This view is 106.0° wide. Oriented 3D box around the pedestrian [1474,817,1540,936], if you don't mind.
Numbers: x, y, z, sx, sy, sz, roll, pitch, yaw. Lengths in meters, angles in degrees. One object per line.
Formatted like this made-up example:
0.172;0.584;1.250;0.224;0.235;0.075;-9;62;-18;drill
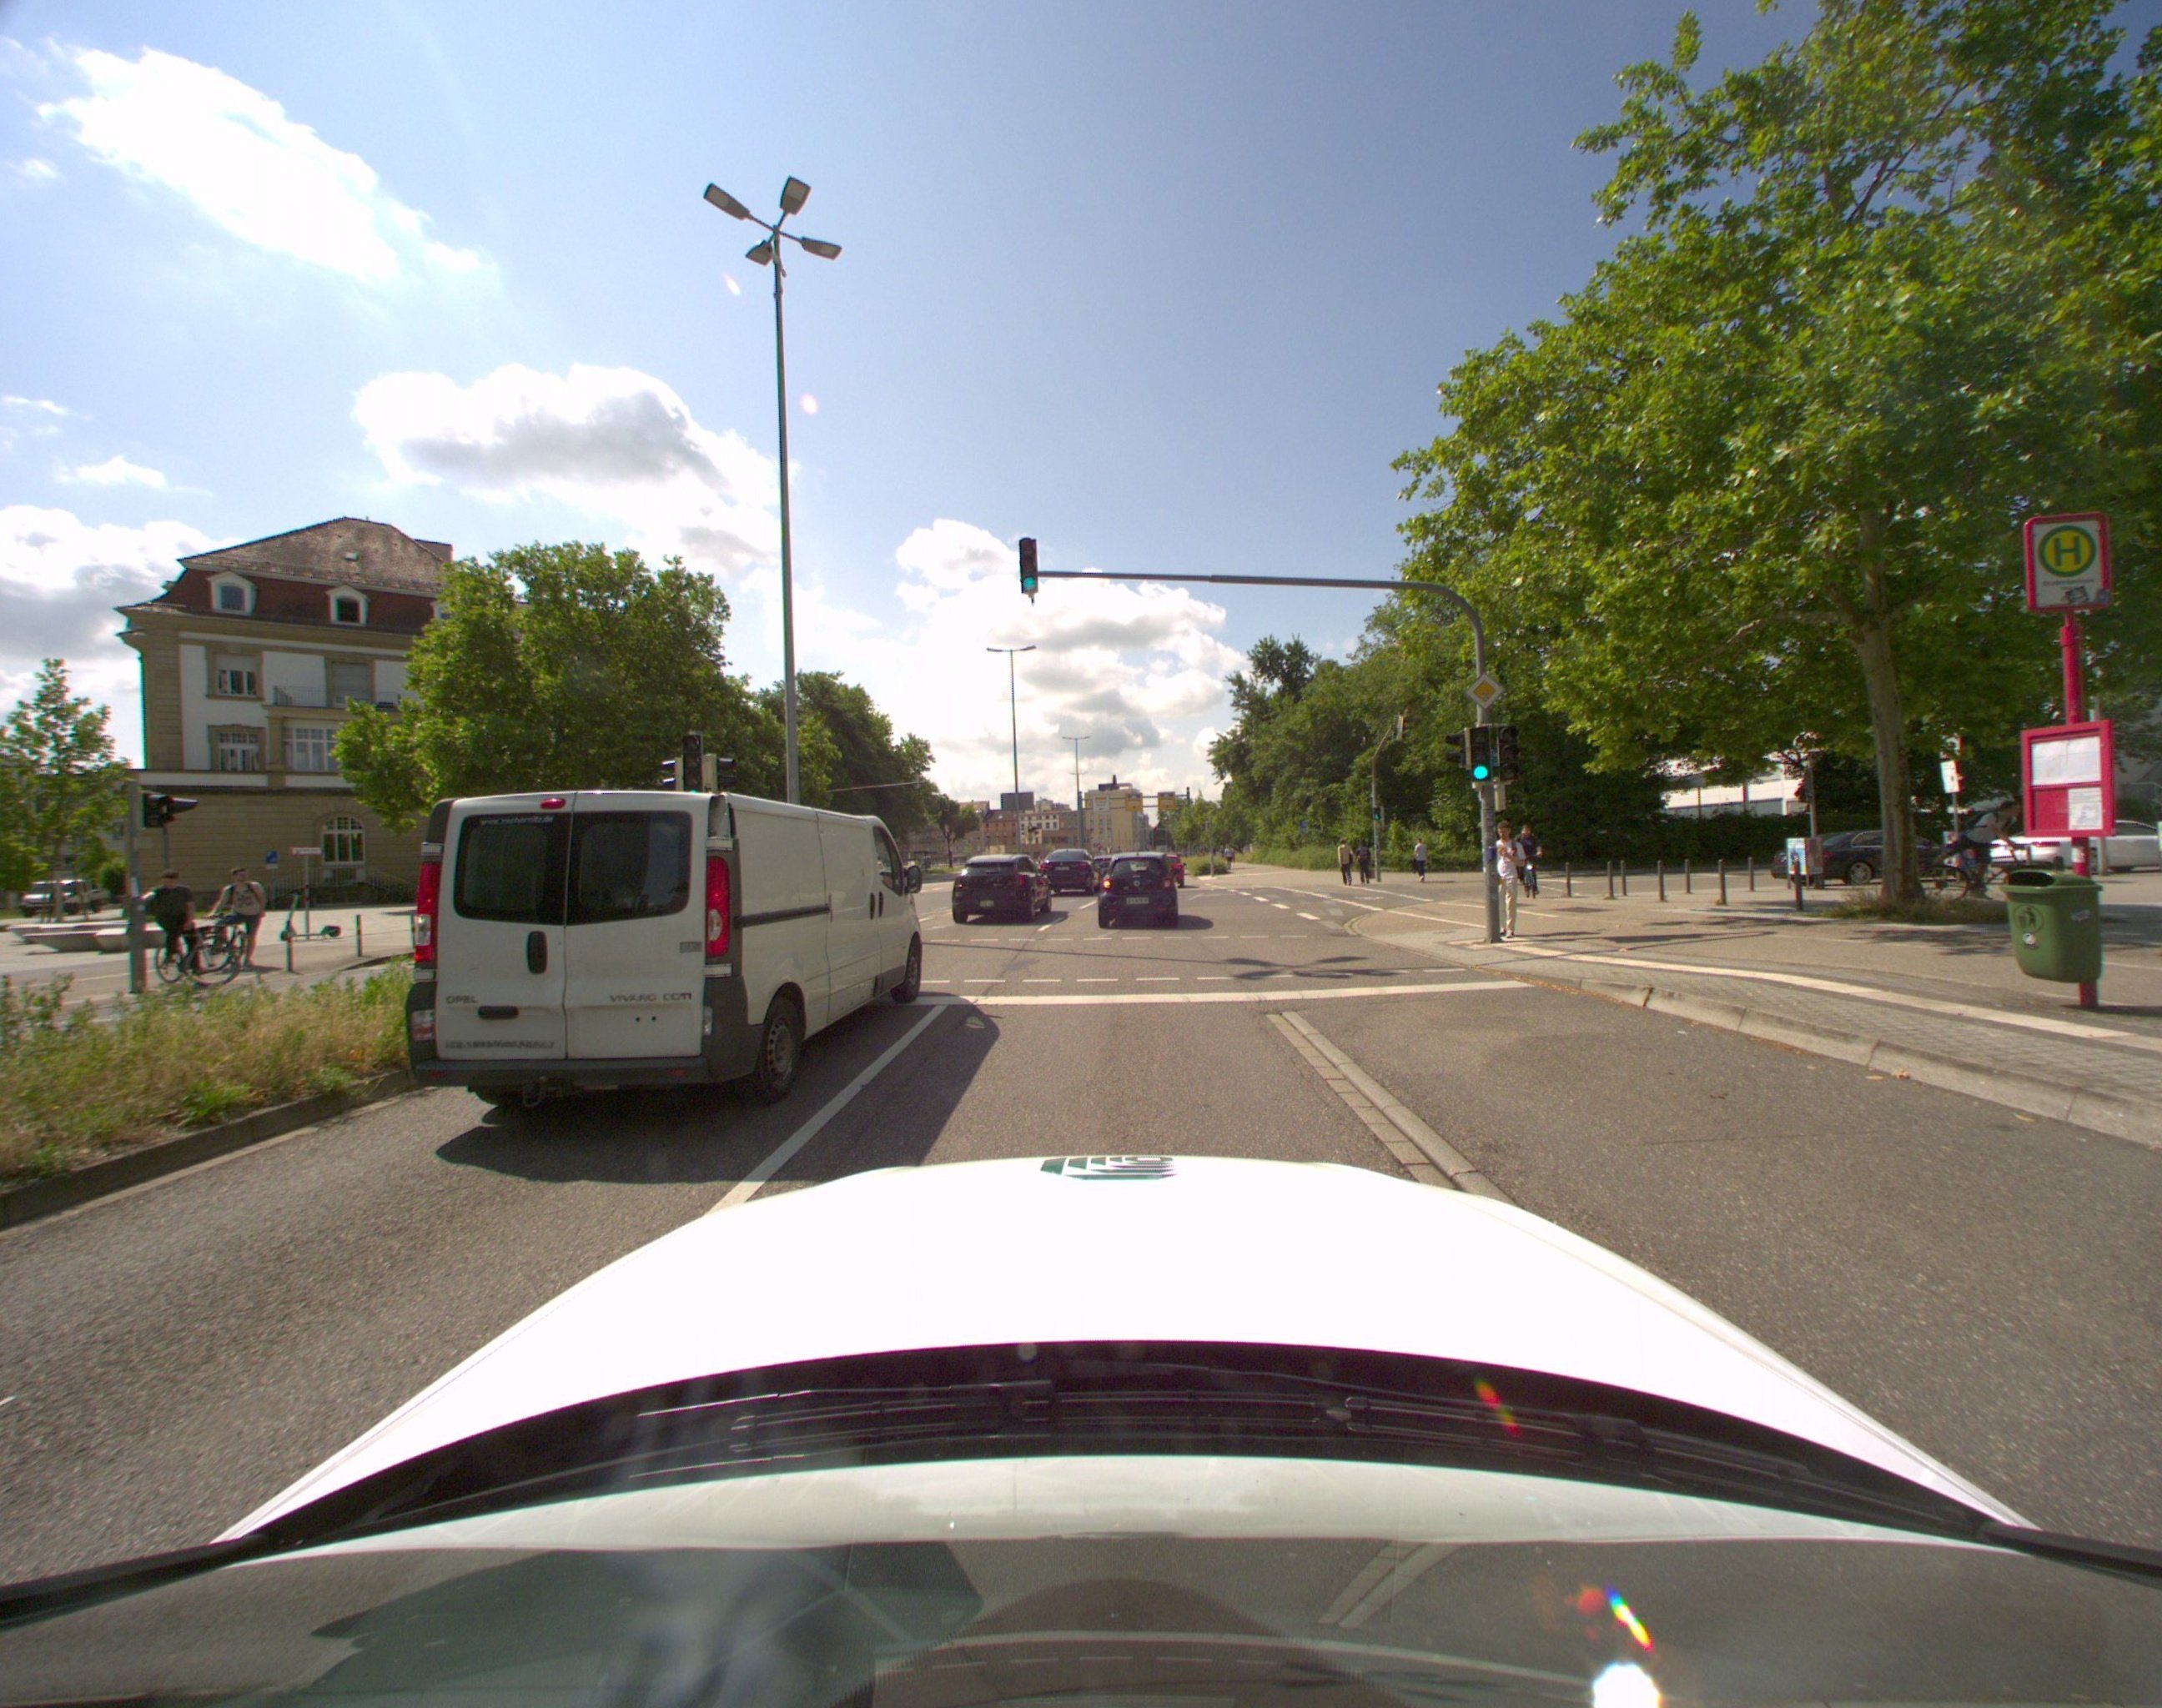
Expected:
6.717;0.348;12.844;0.598;1.800;0.604;-4;0;-36;pedestrian

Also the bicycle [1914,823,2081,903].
15.969;0.153;14.248;0.665;1.296;1.855;0;-1;-33;bicycle

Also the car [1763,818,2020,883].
21.060;-0.059;21.311;4.915;1.400;1.724;-3;-2;0;car

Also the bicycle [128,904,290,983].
-14.440;1.463;13.547;1.671;1.124;0.691;-2;0;-19;bicycle

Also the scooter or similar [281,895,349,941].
-19.376;1.612;20.626;1.153;1.066;0.399;-2;0;-27;scooter or similar

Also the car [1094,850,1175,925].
1.192;0.669;18.009;1.604;1.485;3.521;-1;0;4;car

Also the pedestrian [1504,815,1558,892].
11.392;-0.011;20.608;0.845;1.820;1.183;-7;-3;39;pedestrian

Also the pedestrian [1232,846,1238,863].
16.627;0.042;87.959;0.500;1.890;0.560;-1;-1;1;pedestrian

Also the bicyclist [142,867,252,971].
-14.609;1.046;13.484;0.999;1.615;0.653;-2;0;-19;bicyclist

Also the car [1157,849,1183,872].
5.880;0.404;54.095;1.604;1.411;3.521;-1;0;4;car

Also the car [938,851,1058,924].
-1.881;0.715;20.159;2.007;1.530;4.895;-1;0;5;car

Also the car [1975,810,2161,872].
26.474;-0.335;21.184;4.409;1.400;1.724;-3;-3;0;car

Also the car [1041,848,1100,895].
-0.324;0.610;30.696;1.819;1.601;4.398;-1;0;4;car

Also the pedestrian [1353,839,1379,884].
11.146;0.264;31.910;0.790;1.704;1.186;-2;1;12;pedestrian

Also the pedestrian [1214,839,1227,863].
11.252;-0.228;65.755;0.835;1.868;1.020;-2;0;2;pedestrian

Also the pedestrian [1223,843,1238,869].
10.351;0.136;56.434;0.847;1.700;0.932;-4;-1;4;pedestrian

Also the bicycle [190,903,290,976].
-15.873;1.583;15.428;0.696;1.124;1.658;-2;2;-23;bicycle

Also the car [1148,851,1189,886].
3.770;0.593;35.462;1.604;1.411;3.521;-1;0;4;car

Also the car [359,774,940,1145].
-2.788;0.570;6.988;1.998;1.955;5.197;-1;0;2;car

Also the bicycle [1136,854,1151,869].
8.604;0.991;112.345;1.986;2.014;4.002;-1;0;2;bicycle

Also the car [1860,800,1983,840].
47.101;-1.848;45.836;1.985;1.986;4.941;-1;0;3;car

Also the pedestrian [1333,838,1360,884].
10.076;0.265;30.949;0.790;1.704;1.186;-2;1;12;pedestrian

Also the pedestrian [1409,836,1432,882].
13.718;0.177;32.907;0.666;1.820;0.706;-2;0;12;pedestrian

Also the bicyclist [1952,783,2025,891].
15.955;-0.289;14.321;0.665;1.845;0.753;0;-1;-34;bicyclist

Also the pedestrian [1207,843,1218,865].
12.055;0.003;74.855;0.835;1.969;0.861;-2;0;2;pedestrian

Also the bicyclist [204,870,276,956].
-15.853;1.081;15.375;0.658;1.538;0.780;-2;0;-23;bicyclist

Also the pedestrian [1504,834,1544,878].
17.194;0.065;31.591;0.855;1.626;1.017;-4;1;-11;pedestrian

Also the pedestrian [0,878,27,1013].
-14.986;1.261;11.120;0.413;1.842;0.574;-1;-1;-4;pedestrian

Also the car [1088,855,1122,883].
1.291;0.730;42.492;1.604;1.325;3.521;-2;0;4;car

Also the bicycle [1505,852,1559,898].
11.457;0.527;20.666;0.807;1.073;1.903;-6;-4;39;bicycle
